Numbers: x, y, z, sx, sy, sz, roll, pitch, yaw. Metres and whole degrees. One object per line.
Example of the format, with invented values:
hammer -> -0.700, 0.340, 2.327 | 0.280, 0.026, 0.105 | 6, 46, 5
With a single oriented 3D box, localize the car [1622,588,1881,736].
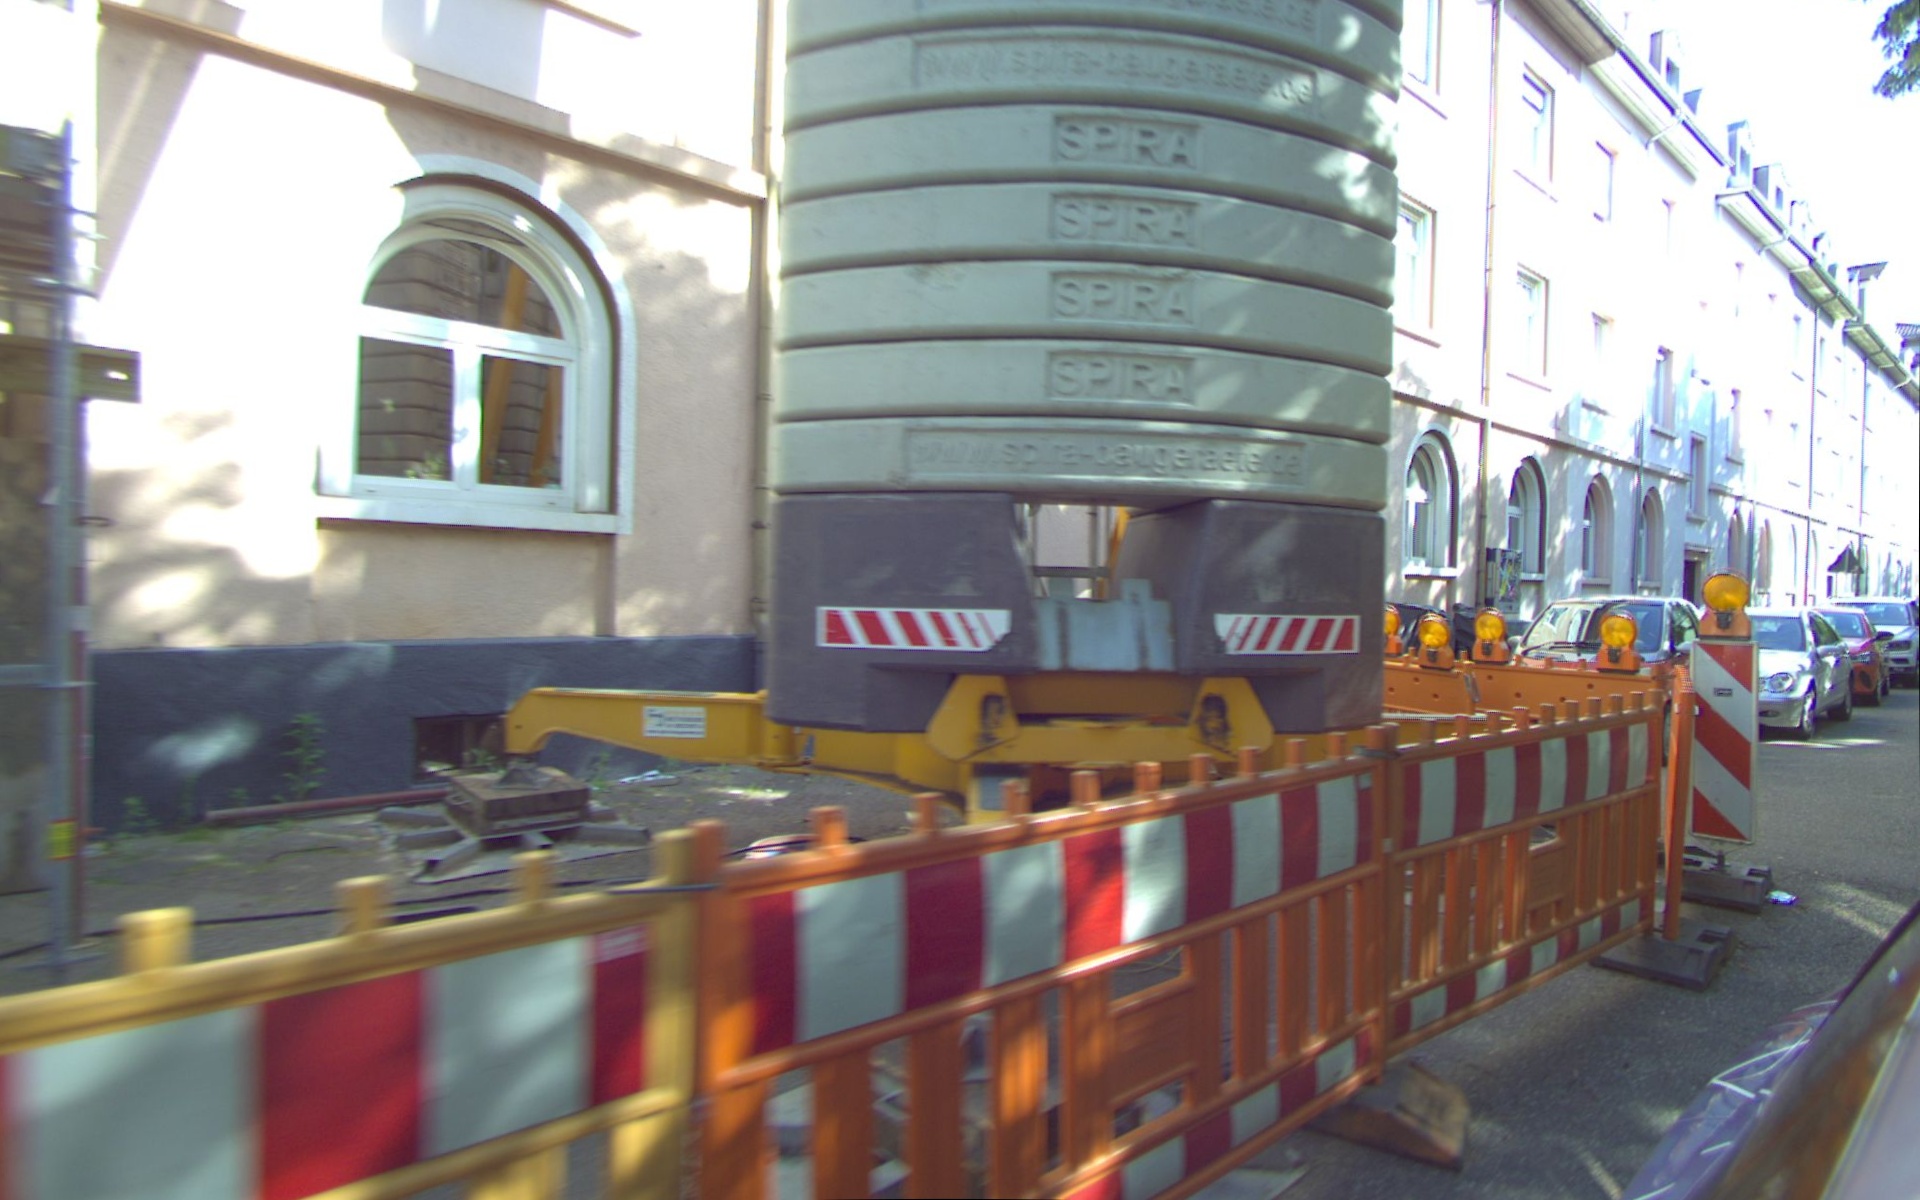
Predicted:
car -> 9.837, 0.629, 12.463 | 4.170, 1.482, 1.764 | 0, 2, -42

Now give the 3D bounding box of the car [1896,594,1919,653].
car -> 25.507, 0.610, 26.142 | 3.544, 1.455, 1.576 | 0, 2, -42

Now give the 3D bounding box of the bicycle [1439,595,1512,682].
bicycle -> 7.607, 0.543, 14.906 | 1.504, 1.217, 0.427 | 0, 1, -42

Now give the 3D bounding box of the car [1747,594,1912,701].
car -> 13.917, 0.659, 16.124 | 3.908, 1.445, 1.668 | 0, 2, -45

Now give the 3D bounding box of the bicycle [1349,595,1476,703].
bicycle -> 5.910, 0.584, 13.142 | 2.301, 1.298, 0.541 | 0, 1, -40

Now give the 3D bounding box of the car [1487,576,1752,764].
car -> 6.669, 0.581, 10.150 | 2.918, 1.577, 1.489 | 0, 1, -42

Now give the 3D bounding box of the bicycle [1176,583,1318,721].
bicycle -> 3.133, 0.516, 10.928 | 1.987, 1.364, 0.445 | 0, 1, -41

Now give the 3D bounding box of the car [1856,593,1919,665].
car -> 21.898, 0.626, 23.145 | 3.544, 1.531, 1.669 | 0, 2, -42

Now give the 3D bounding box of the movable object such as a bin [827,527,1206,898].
movable object such as a bin -> 0.153, 0.460, 5.227 | 1.595, 1.545, 1.880 | 1, 1, -6

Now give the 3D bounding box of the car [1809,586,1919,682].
car -> 17.697, 0.575, 19.324 | 4.200, 1.619, 1.669 | 0, 2, -42
